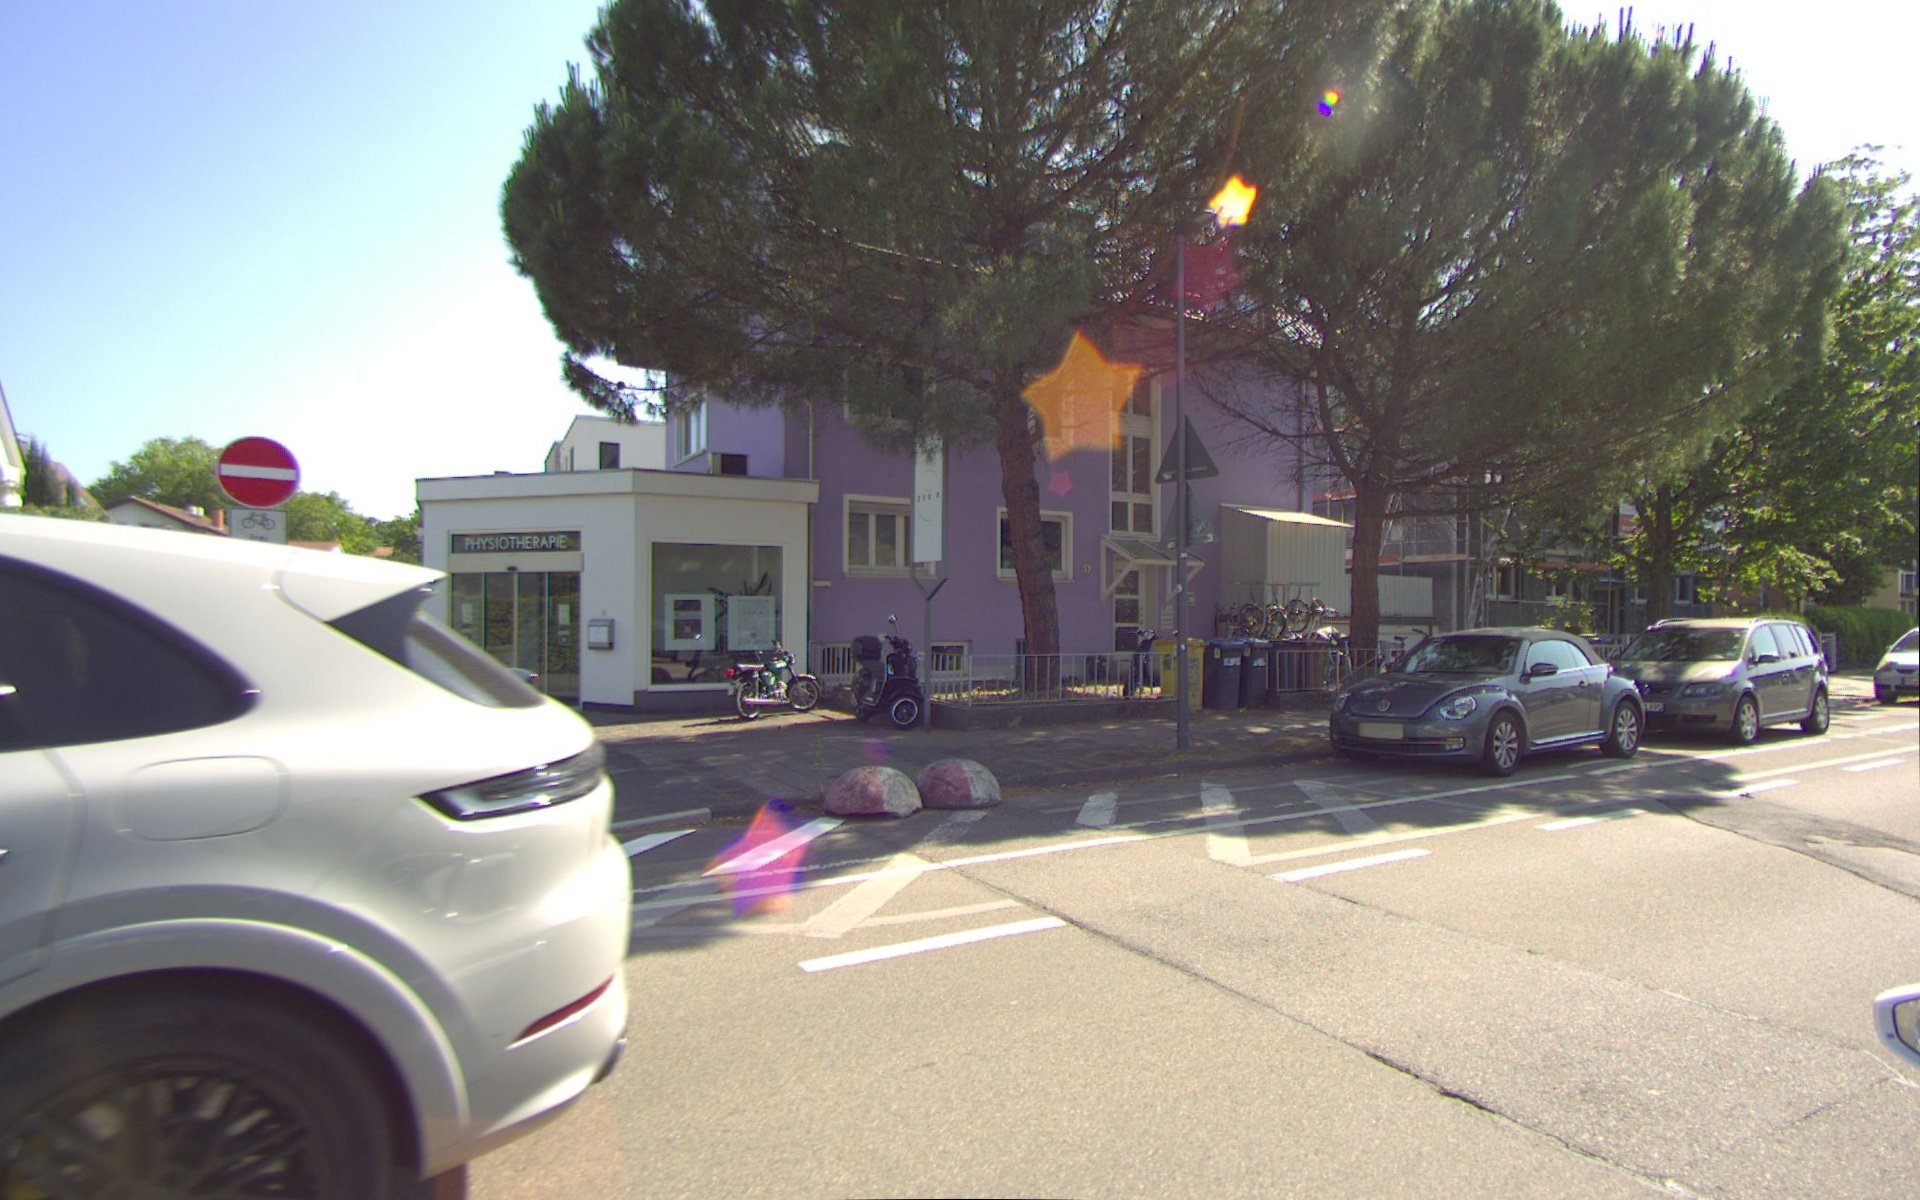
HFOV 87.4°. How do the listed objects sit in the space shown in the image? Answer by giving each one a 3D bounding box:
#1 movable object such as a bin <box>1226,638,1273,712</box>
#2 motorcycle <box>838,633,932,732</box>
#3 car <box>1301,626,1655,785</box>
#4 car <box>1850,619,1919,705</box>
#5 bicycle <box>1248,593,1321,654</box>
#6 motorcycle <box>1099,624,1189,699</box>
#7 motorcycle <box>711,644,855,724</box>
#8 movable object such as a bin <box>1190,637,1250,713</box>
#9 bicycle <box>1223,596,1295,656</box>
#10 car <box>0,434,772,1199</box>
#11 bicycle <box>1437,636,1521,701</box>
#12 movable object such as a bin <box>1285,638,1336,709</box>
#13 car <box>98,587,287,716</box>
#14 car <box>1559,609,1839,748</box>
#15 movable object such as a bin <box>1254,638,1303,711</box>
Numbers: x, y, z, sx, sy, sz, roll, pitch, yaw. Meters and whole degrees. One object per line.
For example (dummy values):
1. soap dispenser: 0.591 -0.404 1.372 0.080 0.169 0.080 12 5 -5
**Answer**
1. movable object such as a bin: 4.525 1.158 15.719 0.425 1.126 0.603 1 -1 -25
2. motorcycle: -1.035 1.059 13.434 0.634 1.197 1.833 1 -1 -26
3. car: 5.886 1.041 11.298 4.041 1.479 1.771 1 -2 -33
4. car: 19.739 1.224 20.101 3.731 1.616 1.826 2 -1 -30
5. bicycle: 6.571 0.489 20.340 1.427 1.197 0.535 1 -1 -26
6. motorcycle: 3.061 1.003 16.704 1.427 1.197 0.535 1 -1 -26
7. motorcycle: -2.561 1.198 14.876 0.632 1.004 2.348 0 0 35
8. movable object such as a bin: 4.003 1.146 15.471 0.654 1.126 0.603 1 -1 -26
9. bicycle: 6.258 0.532 21.014 1.427 1.197 0.535 -1 0 -26
10. car: -2.882 0.567 1.994 4.552 1.679 1.983 1 -1 -31
11. bicycle: 9.567 1.244 18.497 1.954 1.161 0.371 1 -1 -30
12. movable object such as a bin: 5.705 1.186 16.362 0.577 1.126 0.542 1 -1 -26
13. car: -13.077 0.816 17.422 1.887 1.913 4.495 1 -1 -28
14. car: 10.538 1.007 14.245 4.214 1.699 1.897 1 -2 -34
15. movable object such as a bin: 5.084 1.171 16.021 0.512 1.126 0.542 1 -1 -26
